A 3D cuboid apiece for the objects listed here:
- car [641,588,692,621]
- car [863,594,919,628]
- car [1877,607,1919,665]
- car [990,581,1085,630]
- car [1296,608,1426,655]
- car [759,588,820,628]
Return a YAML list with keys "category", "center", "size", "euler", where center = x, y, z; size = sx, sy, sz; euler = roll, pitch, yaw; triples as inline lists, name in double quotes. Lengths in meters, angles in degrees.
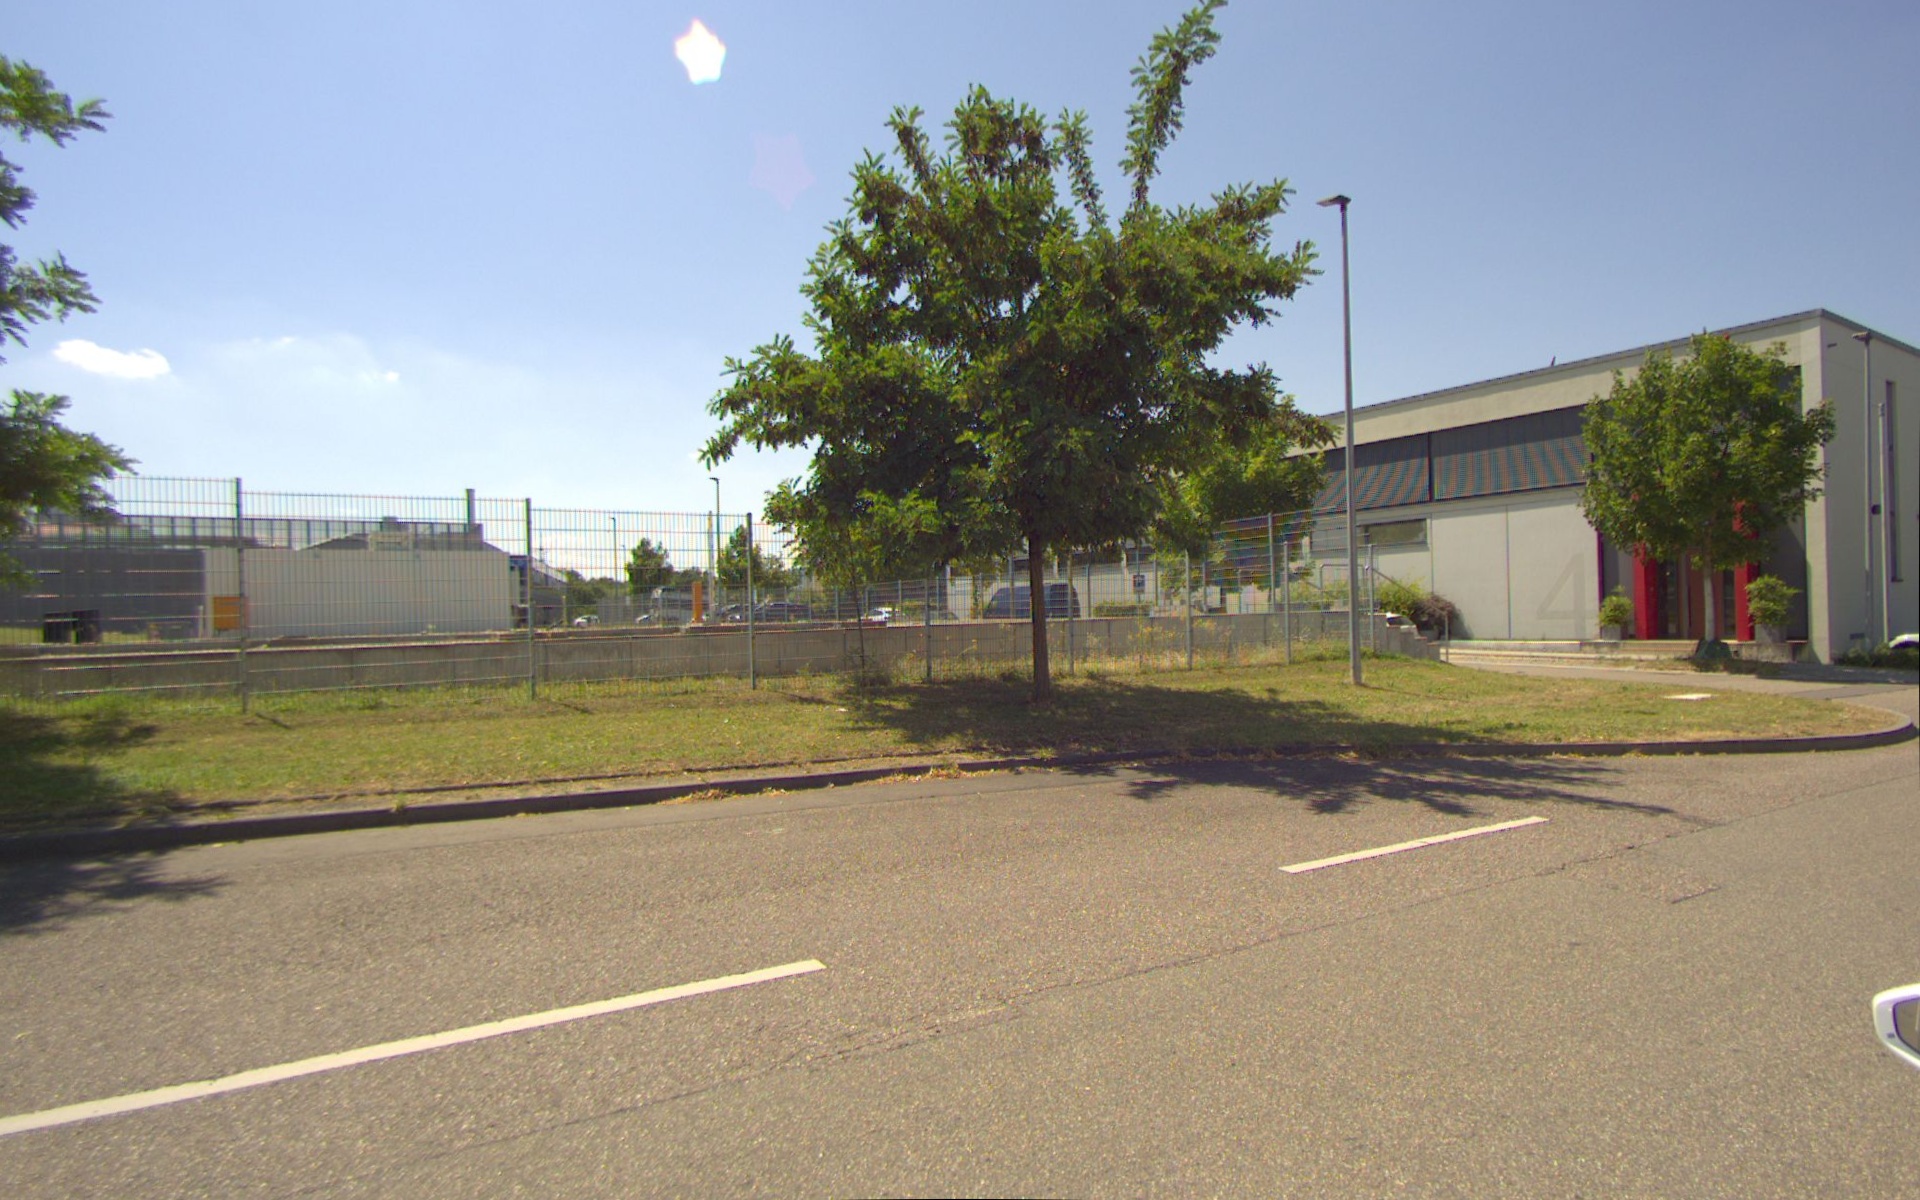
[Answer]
- category: "car"
  center: [-18.495, 0.258, 63.173]
  size: [2.257, 2.040, 3.968]
  euler: [0, 0, -30]
- category: "car"
  center: [-4.480, 0.658, 64.685]
  size: [1.948, 2.041, 3.967]
  euler: [-3, 2, -30]
- category: "car"
  center: [26.636, 0.963, 25.992]
  size: [1.712, 1.515, 4.019]
  euler: [1, -1, -35]
- category: "car"
  center: [3.841, 0.236, 50.968]
  size: [2.108, 2.303, 5.215]
  euler: [-3, 2, -32]
- category: "car"
  center: [13.844, 1.045, 34.861]
  size: [1.638, 1.427, 3.979]
  euler: [-3, 2, -32]
- category: "car"
  center: [-9.210, 0.412, 54.058]
  size: [1.952, 2.040, 3.967]
  euler: [1, 0, -30]
